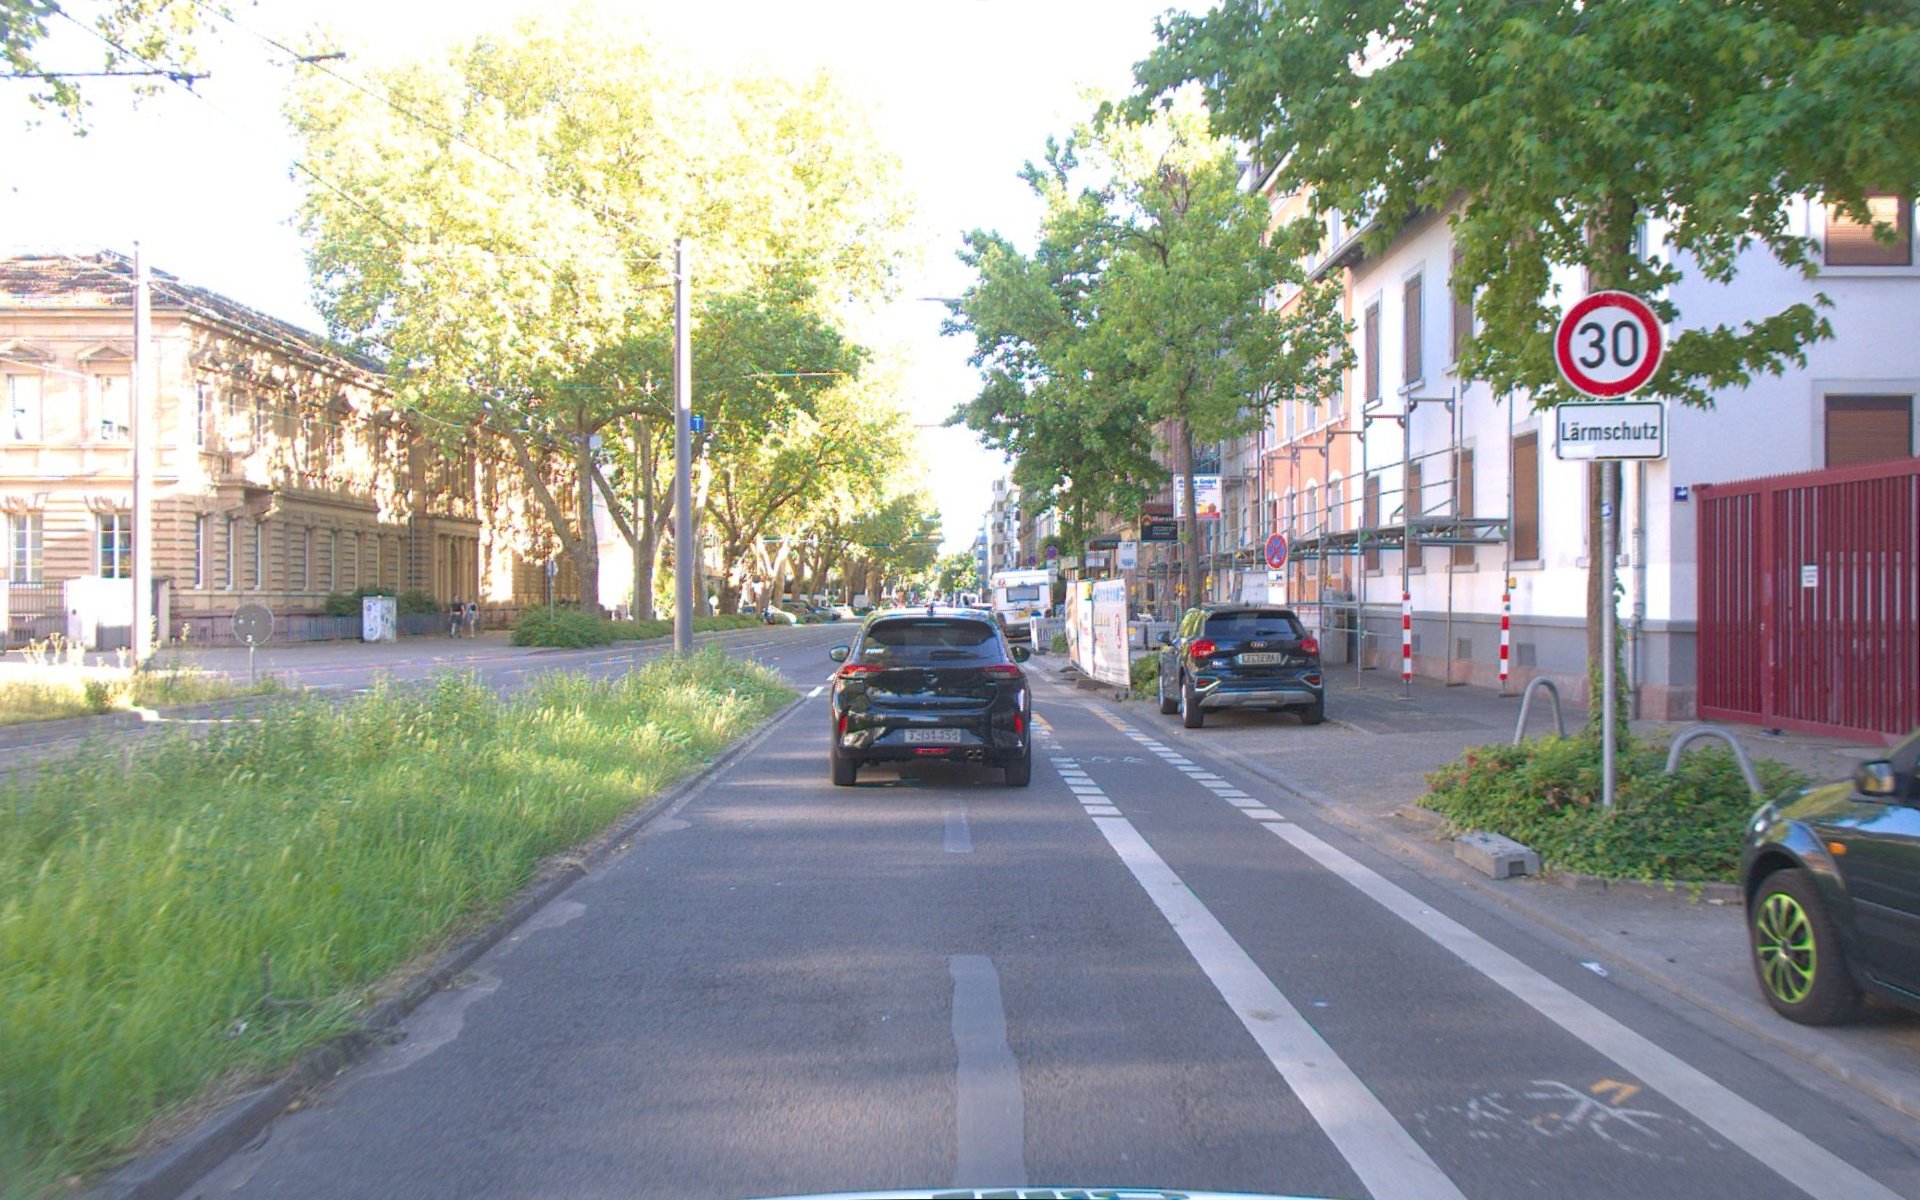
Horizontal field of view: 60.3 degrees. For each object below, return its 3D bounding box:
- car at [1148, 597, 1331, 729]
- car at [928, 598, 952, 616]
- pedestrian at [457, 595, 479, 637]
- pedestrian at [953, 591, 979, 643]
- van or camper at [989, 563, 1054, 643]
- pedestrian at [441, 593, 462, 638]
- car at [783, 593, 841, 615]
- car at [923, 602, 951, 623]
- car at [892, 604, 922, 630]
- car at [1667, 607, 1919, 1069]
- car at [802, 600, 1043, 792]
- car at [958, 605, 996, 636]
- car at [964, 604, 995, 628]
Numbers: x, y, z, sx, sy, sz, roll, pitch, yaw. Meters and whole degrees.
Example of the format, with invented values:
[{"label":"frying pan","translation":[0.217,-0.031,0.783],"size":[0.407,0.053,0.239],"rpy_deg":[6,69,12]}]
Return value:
[{"label":"car","translation":[3.607,0.760,21.988],"size":[1.753,1.536,3.874],"rpy_deg":[-2,0,0]},{"label":"car","translation":[-1.683,0.577,140.261],"size":[1.866,1.450,4.216],"rpy_deg":[0,0,1]},{"label":"pedestrian","translation":[-19.720,0.651,66.316],"size":[0.645,1.650,0.615],"rpy_deg":[2,0,-1]},{"label":"pedestrian","translation":[0.242,0.685,66.850],"size":[1.015,2.059,1.212],"rpy_deg":[0,0,-1]},{"label":"van or camper","translation":[2.491,0.118,68.220],"size":[2.435,3.046,5.434],"rpy_deg":[2,0,1]},{"label":"pedestrian","translation":[-20.358,0.615,66.217],"size":[0.605,1.764,0.596],"rpy_deg":[2,0,-1]},{"label":"car","translation":[-14.625,0.405,164.067],"size":[5.571,2.236,2.289],"rpy_deg":[0,0,0]},{"label":"car","translation":[-1.635,0.879,119.683],"size":[1.866,1.450,4.216],"rpy_deg":[0,0,1]},{"label":"car","translation":[-3.358,1.088,105.619],"size":[1.753,1.536,3.874],"rpy_deg":[-2,0,0]},{"label":"car","translation":[3.888,0.761,4.972],"size":[1.652,1.445,4.046],"rpy_deg":[-1,0,-2]},{"label":"car","translation":[-0.263,0.742,14.892],"size":[1.866,1.450,4.216],"rpy_deg":[0,0,1]},{"label":"car","translation":[0.865,1.000,82.675],"size":[1.866,1.450,4.216],"rpy_deg":[0,0,1]},{"label":"car","translation":[1.193,0.981,102.245],"size":[1.866,1.450,4.216],"rpy_deg":[0,0,1]}]
